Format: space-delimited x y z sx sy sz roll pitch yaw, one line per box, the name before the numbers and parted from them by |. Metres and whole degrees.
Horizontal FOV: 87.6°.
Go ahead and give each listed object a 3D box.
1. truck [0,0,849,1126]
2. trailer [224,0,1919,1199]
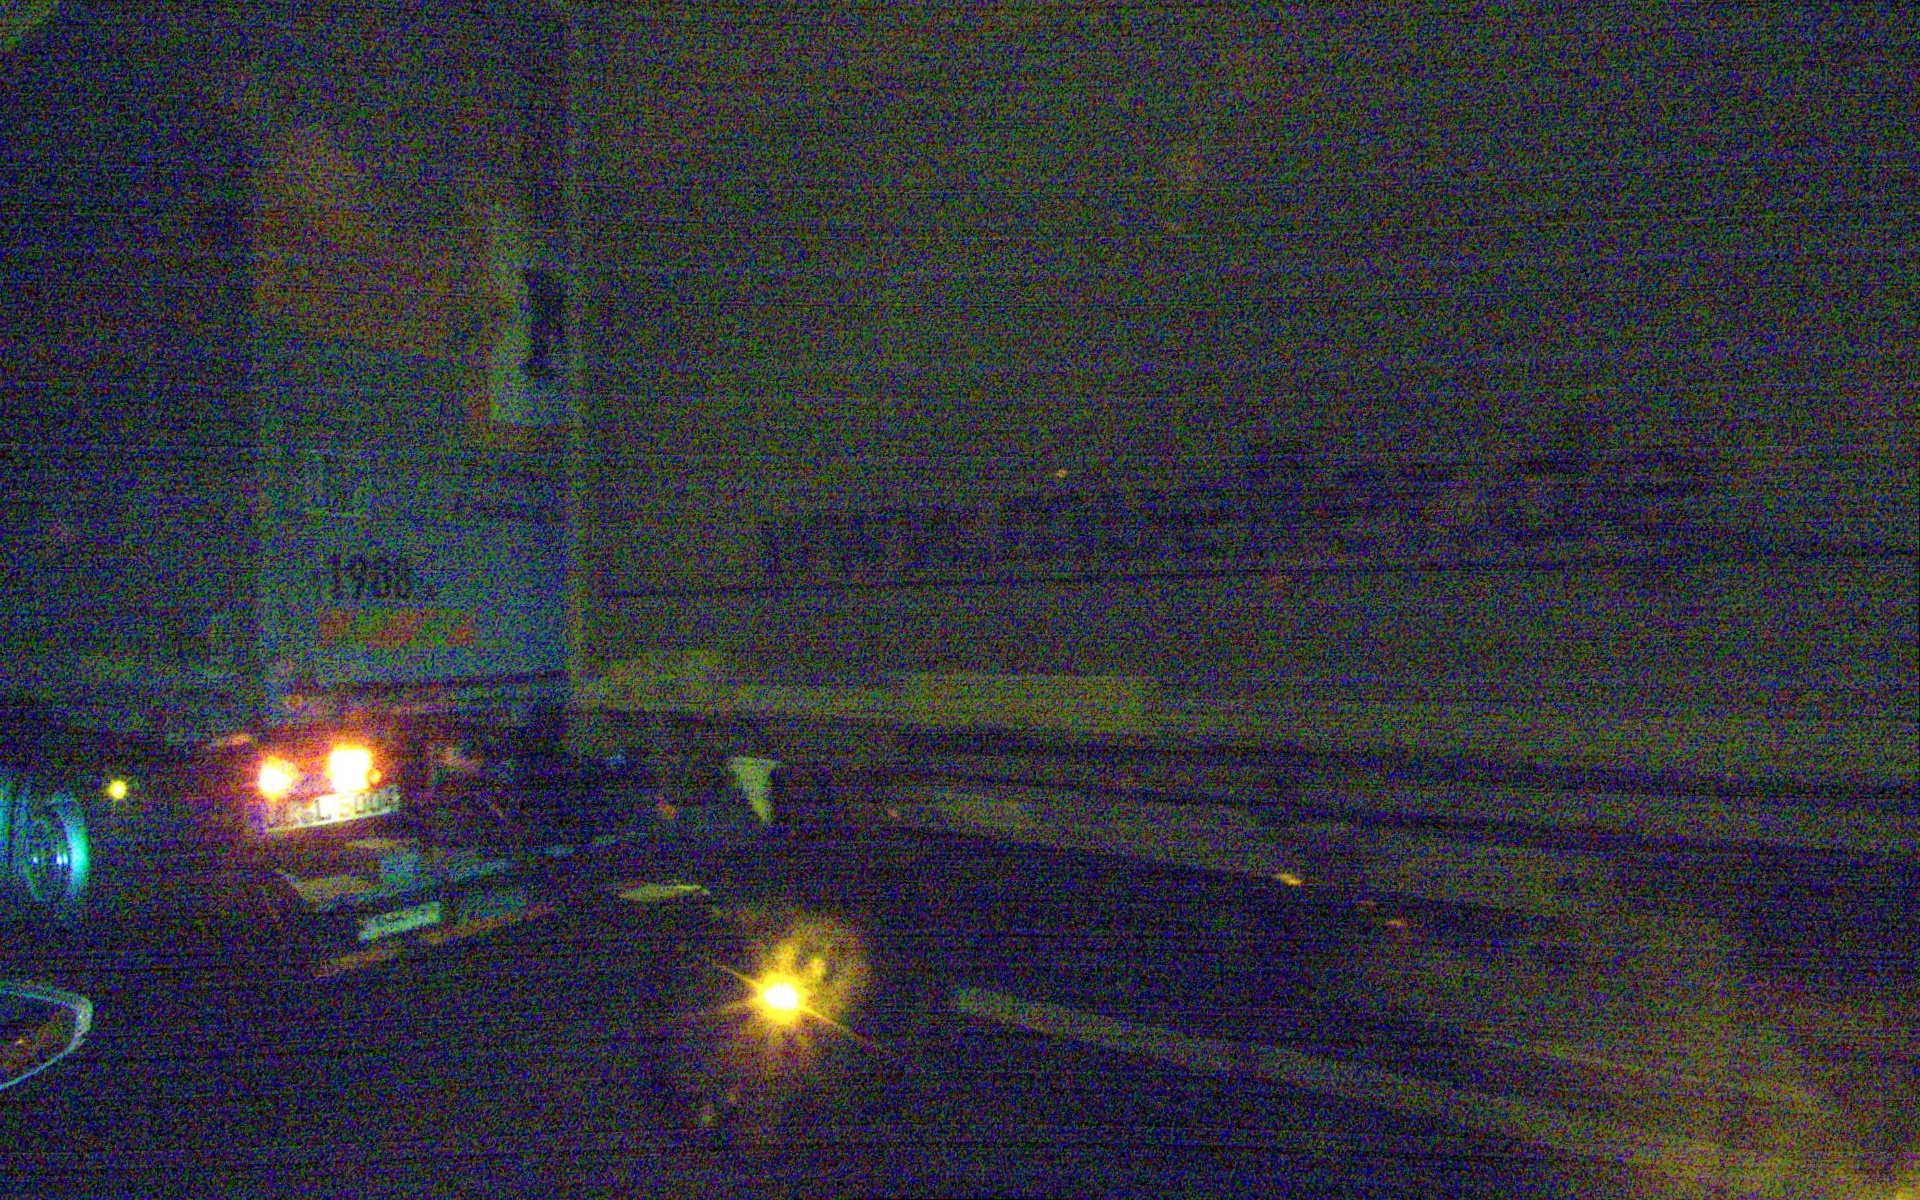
truck | -5.492 -0.375 6.776 9.767 3.965 2.883 -1 0 32
trailer | 2.329 -0.471 1.790 8.820 3.909 2.869 -1 0 32
